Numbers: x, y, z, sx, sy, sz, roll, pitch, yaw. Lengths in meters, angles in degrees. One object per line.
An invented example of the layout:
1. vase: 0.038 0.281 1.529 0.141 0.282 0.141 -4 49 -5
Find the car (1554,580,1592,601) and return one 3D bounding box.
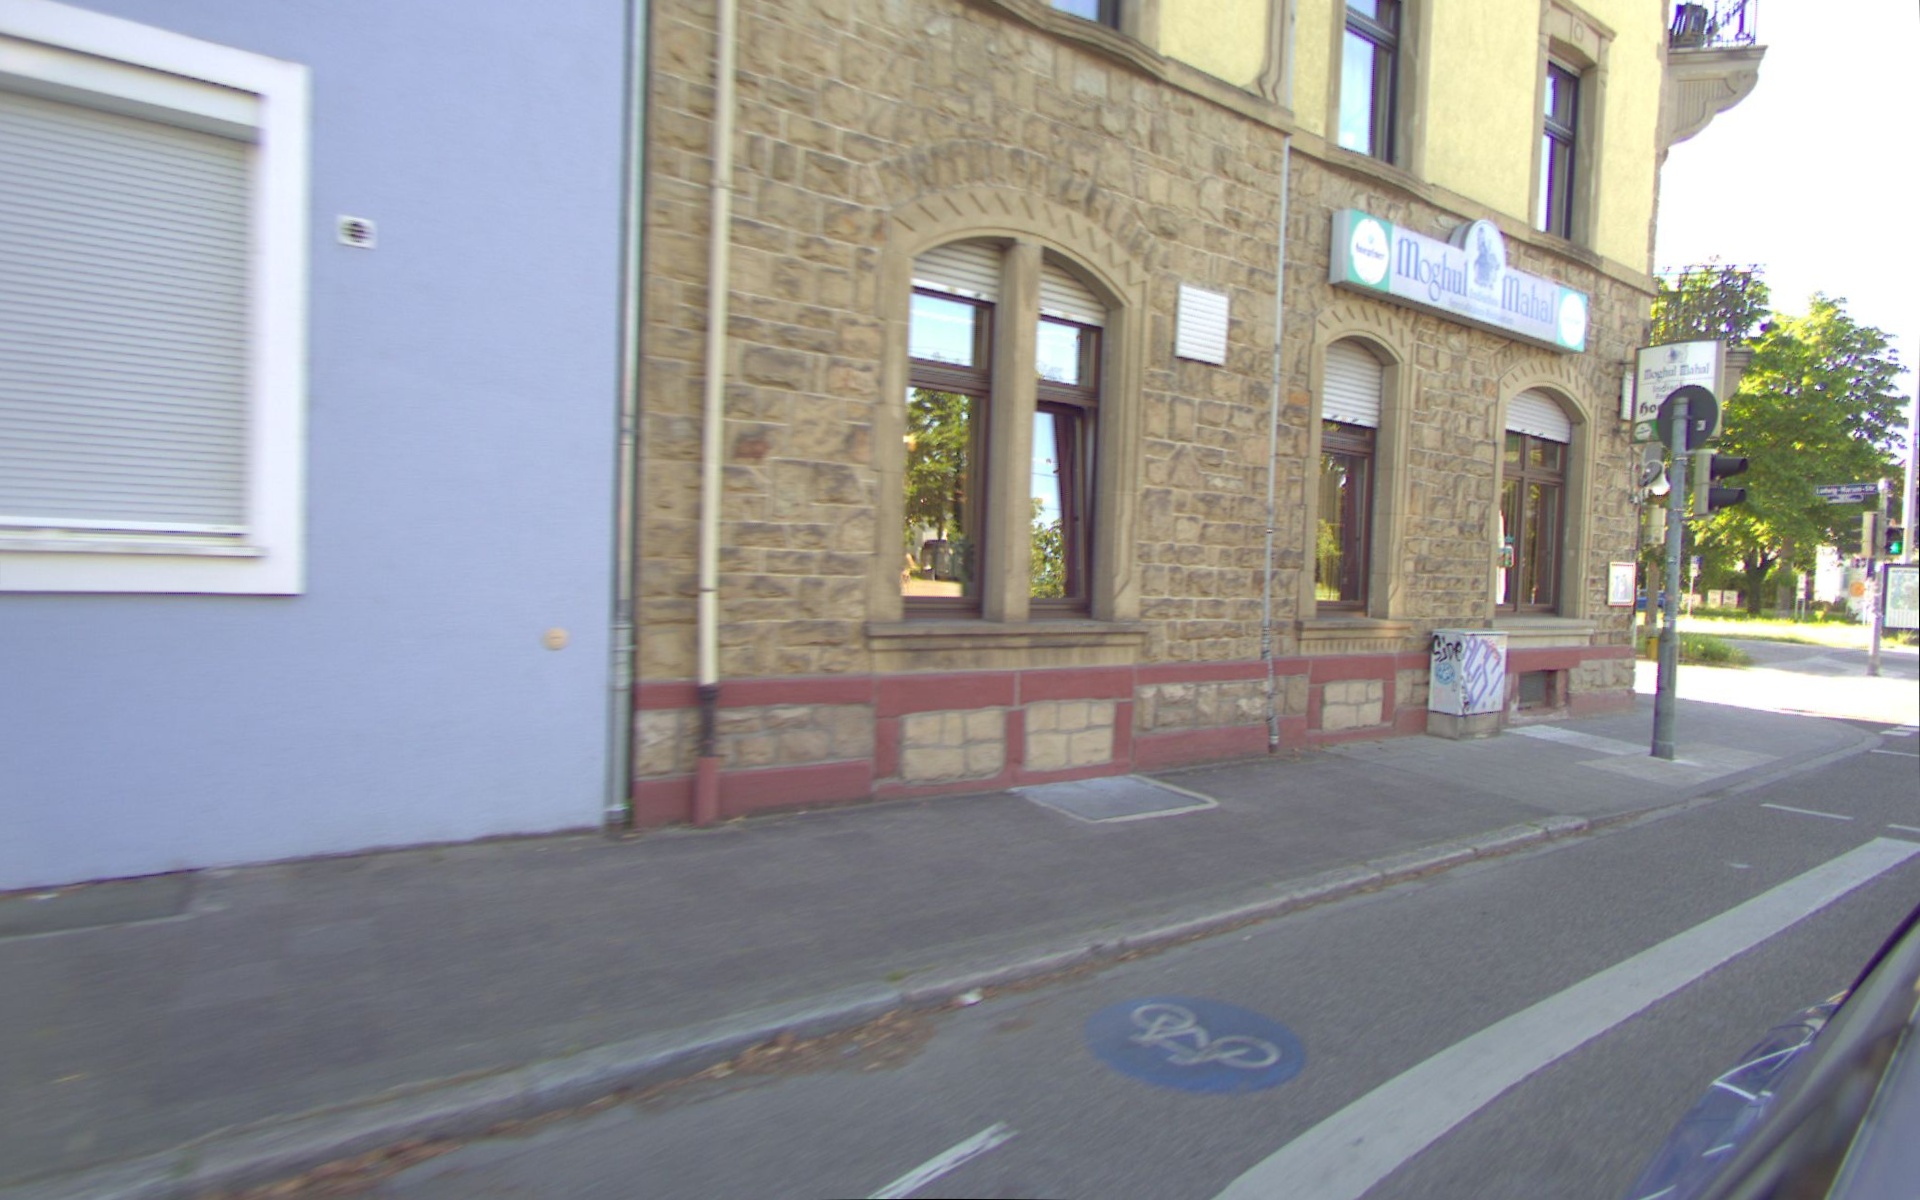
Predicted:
1. car: 49.013 -0.757 80.936 1.603 1.554 4.212 3 1 45

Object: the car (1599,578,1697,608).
1. car: 37.318 -0.398 54.978 1.782 1.451 4.002 2 1 -35
